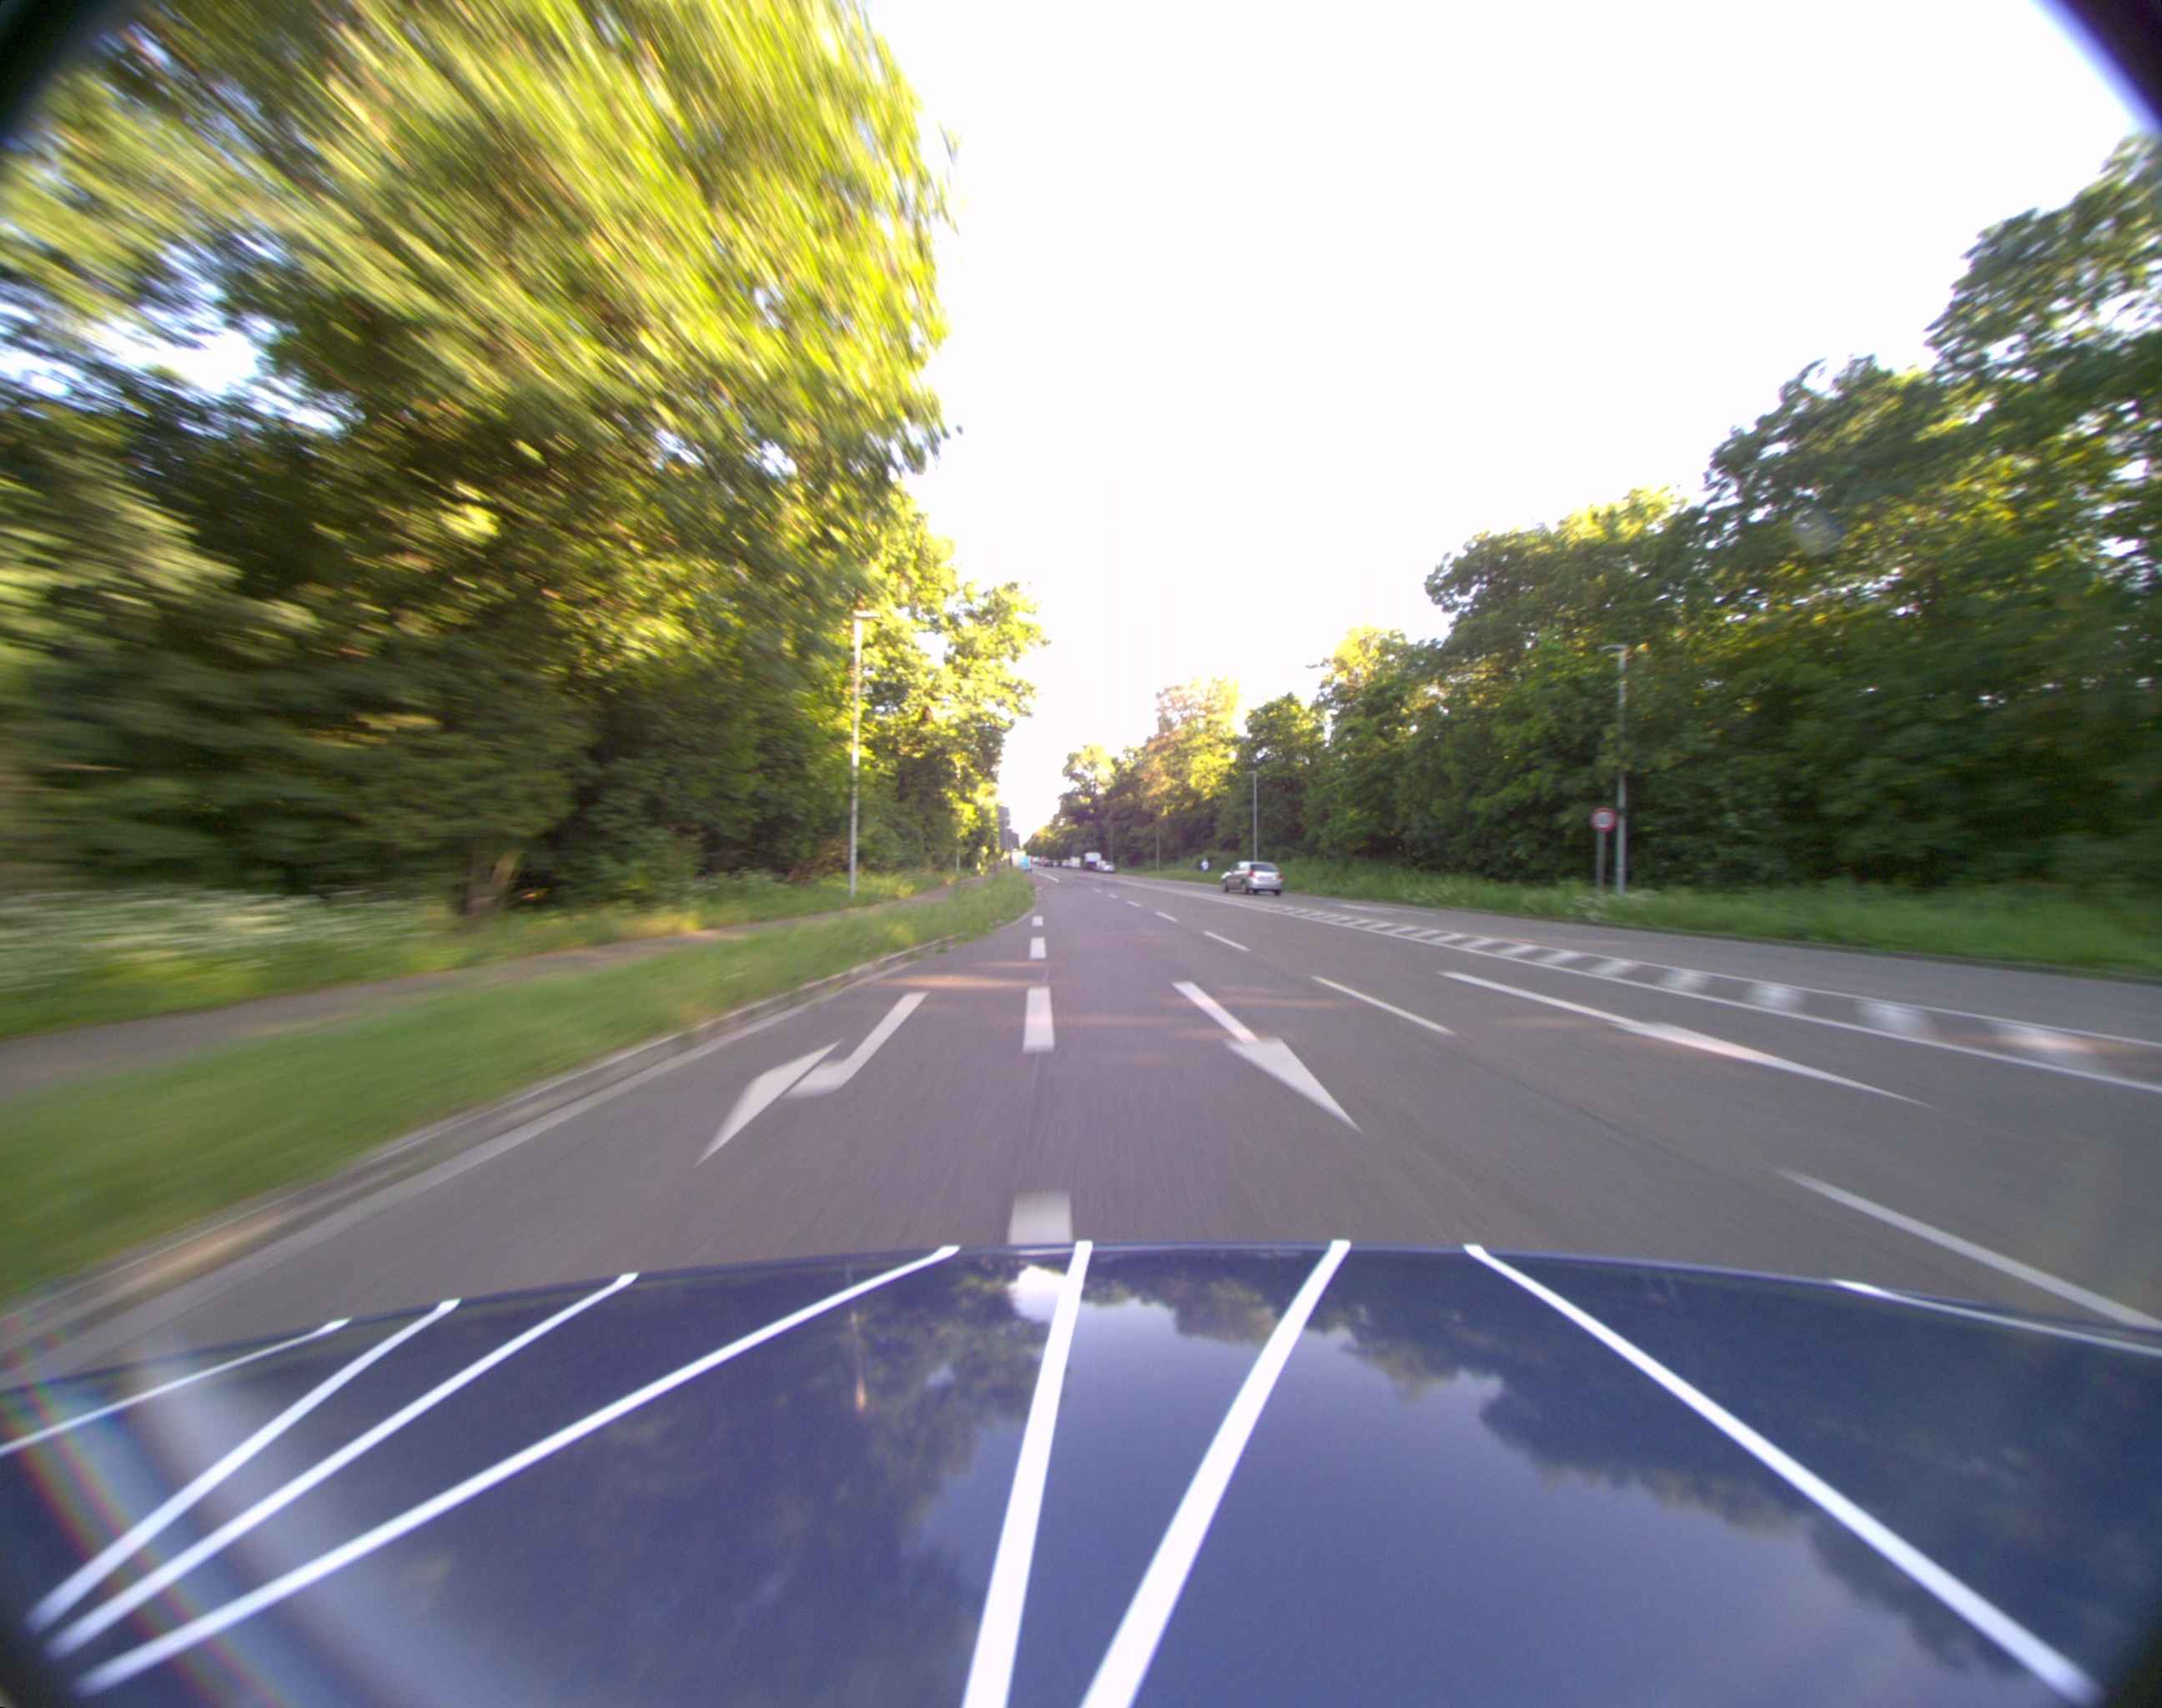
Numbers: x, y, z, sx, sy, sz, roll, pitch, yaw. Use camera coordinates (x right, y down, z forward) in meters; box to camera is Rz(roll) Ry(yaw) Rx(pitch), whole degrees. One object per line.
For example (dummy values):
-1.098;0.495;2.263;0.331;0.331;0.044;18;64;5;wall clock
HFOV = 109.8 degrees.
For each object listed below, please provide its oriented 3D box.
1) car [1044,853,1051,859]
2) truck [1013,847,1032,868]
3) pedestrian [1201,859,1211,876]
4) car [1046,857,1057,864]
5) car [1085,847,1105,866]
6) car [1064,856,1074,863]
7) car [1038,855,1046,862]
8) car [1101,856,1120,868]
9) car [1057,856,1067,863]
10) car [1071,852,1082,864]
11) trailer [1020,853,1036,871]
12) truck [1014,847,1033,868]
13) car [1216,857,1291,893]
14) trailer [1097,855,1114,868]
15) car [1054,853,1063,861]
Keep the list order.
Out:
-11.295;0.658;254.276;2.000;2.002;3.997;0;0;-8;car
-8.633;0.492;111.258;2.391;2.855;5.595;-2;1;-7;truck
11.362;1.194;68.992;0.713;1.556;0.826;1;0;-3;pedestrian
-6.040;1.302;156.953;1.915;1.455;4.355;1;0;-7;car
2.091;0.407;116.509;2.461;2.830;4.796;1;0;-7;car
-2.602;1.180;160.634;1.807;1.496;3.910;1;0;-7;car
-9.453;1.078;183.609;1.807;1.455;3.910;1;0;-7;car
3.823;1.067;98.881;1.915;1.455;4.009;1;0;-7;car
-4.384;1.290;176.354;1.807;1.496;3.910;1;0;-7;car
-0.839;0.764;148.288;1.692;2.089;4.629;1;0;-7;car
-6.700;1.010;95.848;1.870;2.165;4.126;-1;1;-7;trailer
-9.265;0.485;121.401;2.707;3.218;7.124;1;0;-7;truck
7.723;0.912;34.507;1.834;1.446;4.477;2;0;-8;car
3.337;1.006;104.487;1.807;1.719;3.645;1;0;-7;trailer
-5.598;0.713;187.298;2.000;2.002;3.998;0;0;-6;car
